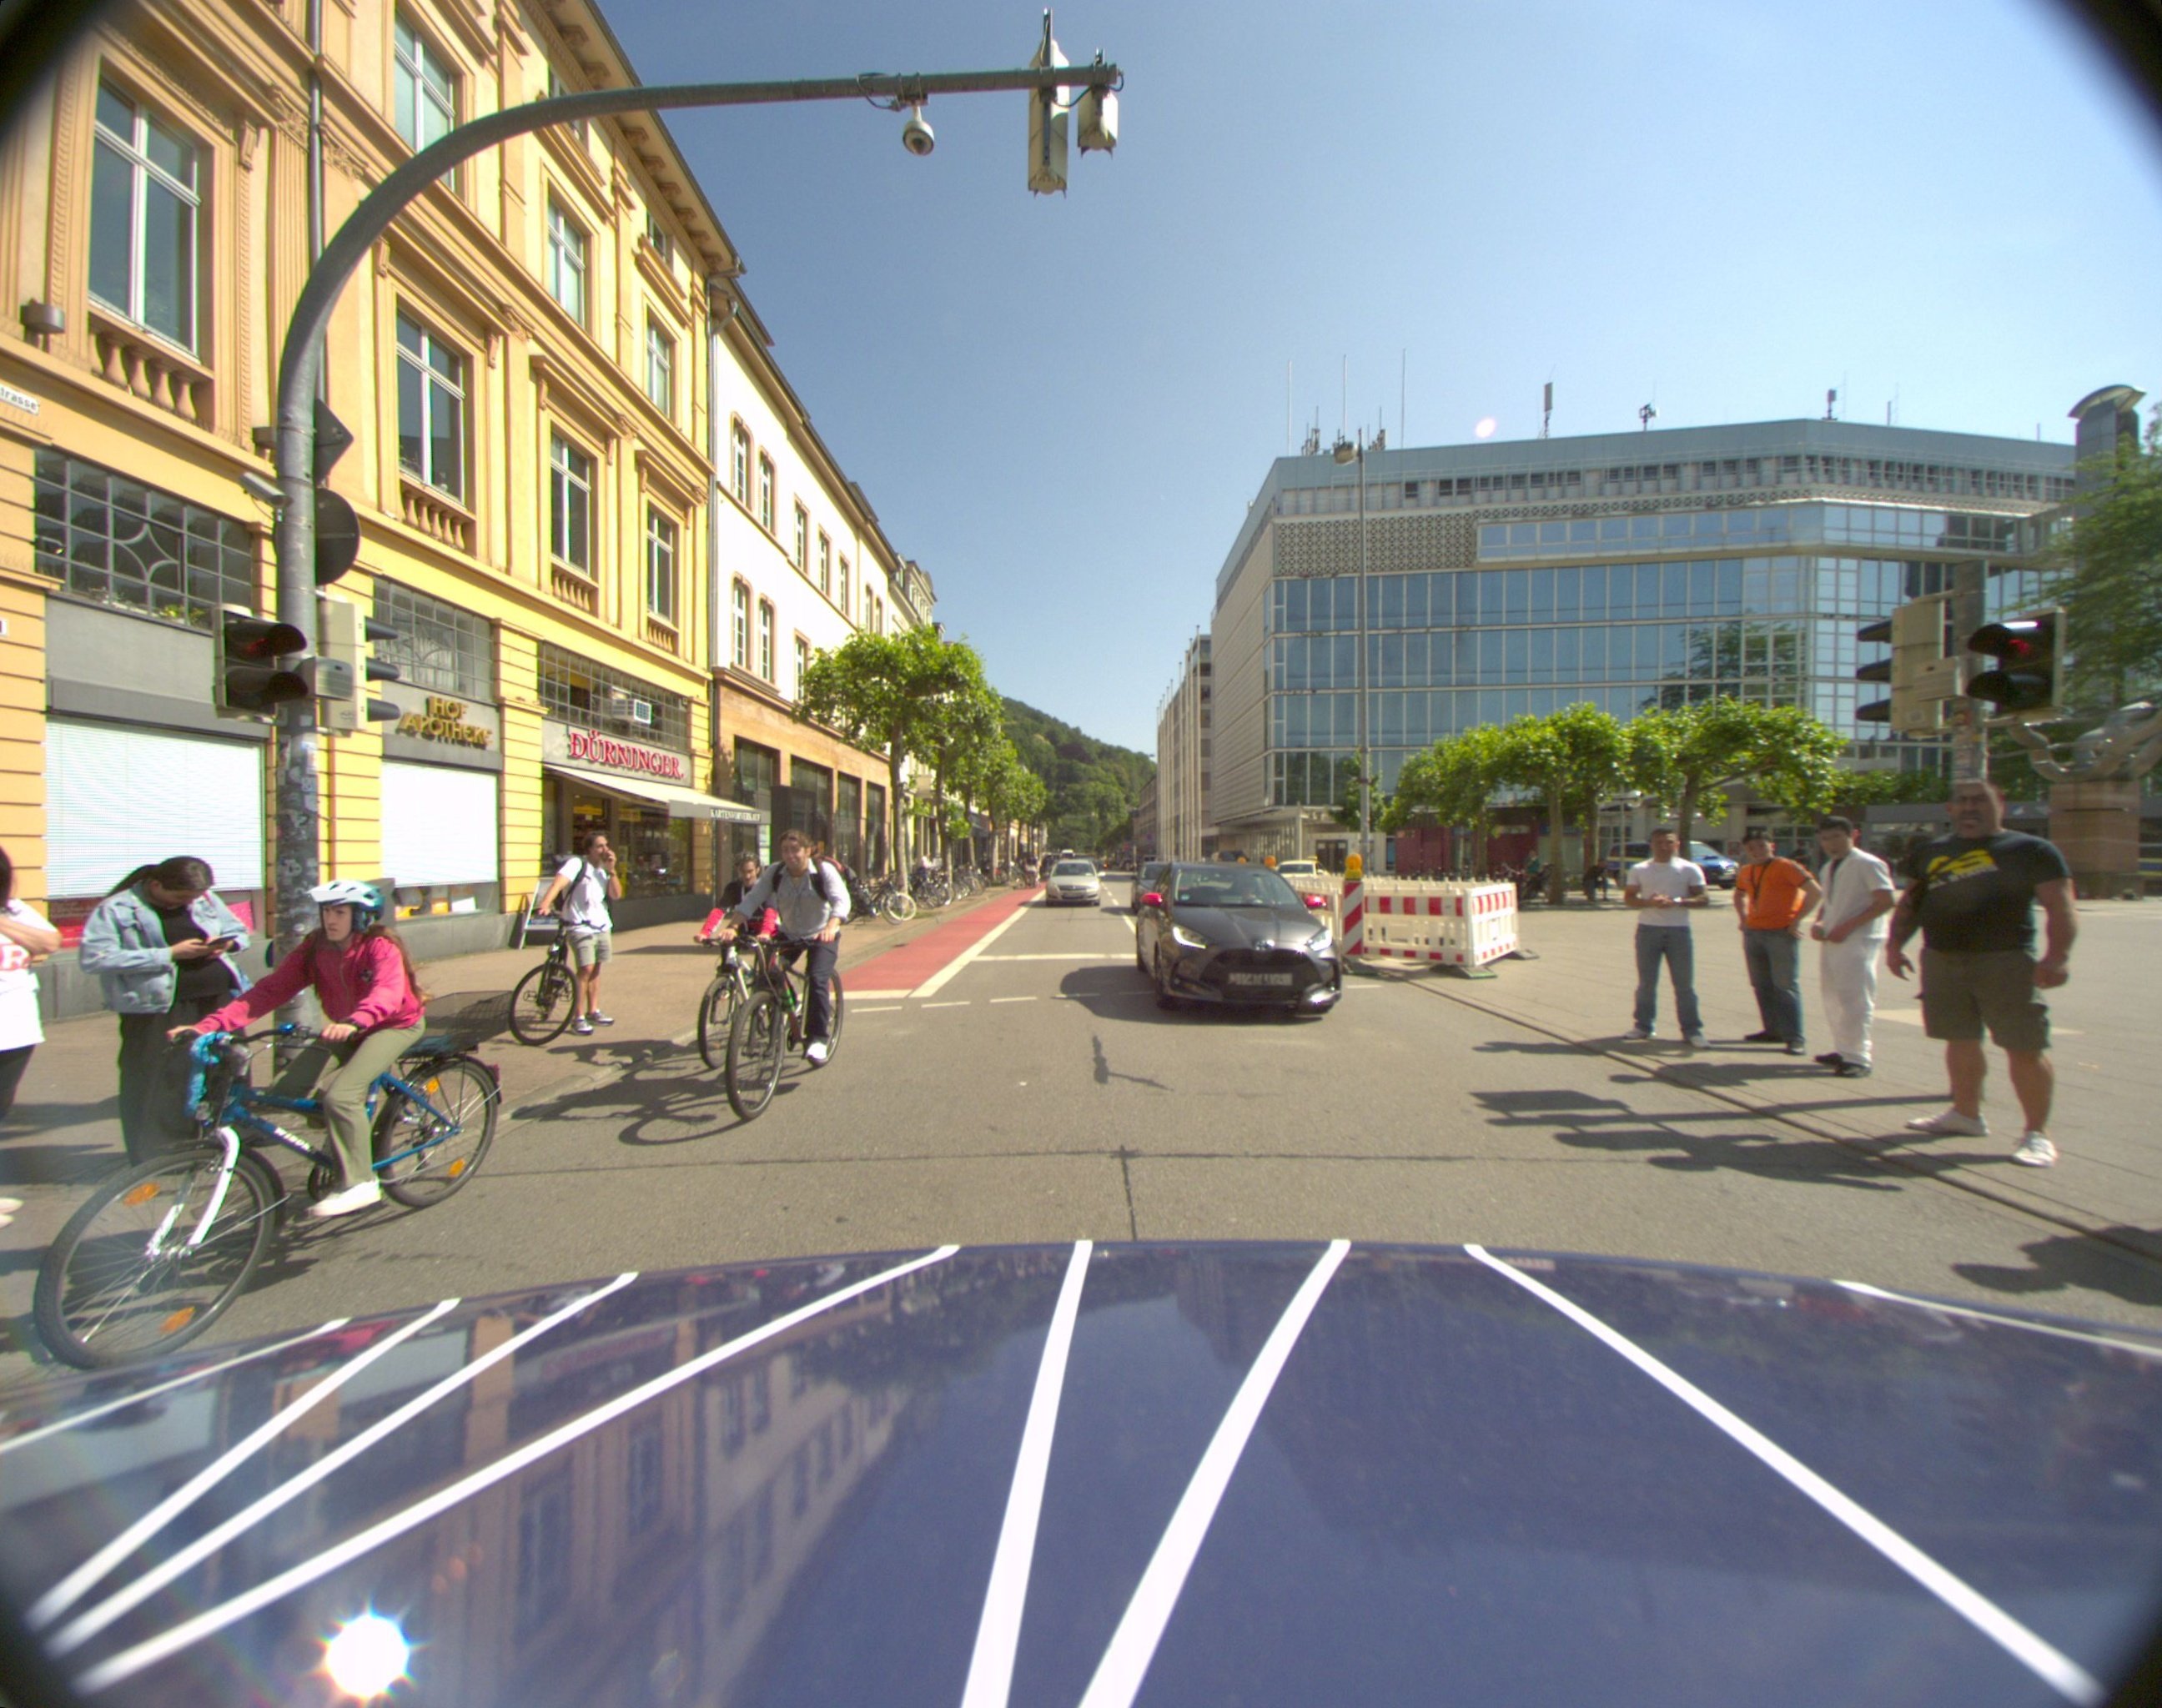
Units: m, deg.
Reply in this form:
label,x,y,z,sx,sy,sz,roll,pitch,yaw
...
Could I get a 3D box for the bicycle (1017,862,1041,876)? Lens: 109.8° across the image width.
label,x,y,z,sx,sy,sz,roll,pitch,yaw
bicycle,-4.233,1.215,61.699,1.846,1.120,0.632,-2,1,-10

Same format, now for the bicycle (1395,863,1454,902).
label,x,y,z,sx,sy,sz,roll,pitch,yaw
bicycle,11.785,0.963,26.090,1.786,1.301,0.562,-1,0,-2

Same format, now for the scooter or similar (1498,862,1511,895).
label,x,y,z,sx,sy,sz,roll,pitch,yaw
scooter or similar,15.937,0.909,28.608,0.233,1.207,1.305,-1,0,20

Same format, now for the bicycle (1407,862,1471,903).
label,x,y,z,sx,sy,sz,roll,pitch,yaw
bicycle,11.688,0.915,24.801,1.786,1.301,0.663,-1,0,-2

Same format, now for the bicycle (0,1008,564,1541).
label,x,y,z,sx,sy,sz,roll,pitch,yaw
bicycle,-3.037,1.283,2.969,0.601,0.920,2.087,0,1,0

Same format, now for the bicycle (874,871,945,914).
label,x,y,z,sx,sy,sz,roll,pitch,yaw
bicycle,-4.824,1.079,21.462,1.848,1.157,0.659,0,0,3

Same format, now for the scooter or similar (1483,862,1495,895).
label,x,y,z,sx,sy,sz,roll,pitch,yaw
scooter or similar,15.503,0.925,28.883,0.233,1.207,1.305,-1,0,20

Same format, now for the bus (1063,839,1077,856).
label,x,y,z,sx,sy,sz,roll,pitch,yaw
bus,-2.413,-1.322,167.317,2.924,3.515,12.498,1,0,-2

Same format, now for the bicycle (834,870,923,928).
label,x,y,z,sx,sy,sz,roll,pitch,yaw
bicycle,-4.712,1.027,17.677,1.940,1.250,0.704,0,0,-19

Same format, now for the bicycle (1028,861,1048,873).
label,x,y,z,sx,sy,sz,roll,pitch,yaw
bicycle,-4.075,1.257,72.686,1.844,1.120,0.666,0,1,2

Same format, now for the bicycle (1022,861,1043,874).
label,x,y,z,sx,sy,sz,roll,pitch,yaw
bicycle,-4.283,1.227,67.585,1.844,1.120,0.448,0,2,3

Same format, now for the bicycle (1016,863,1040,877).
label,x,y,z,sx,sy,sz,roll,pitch,yaw
bicycle,-4.329,1.277,62.200,1.846,1.087,0.564,-1,1,-10

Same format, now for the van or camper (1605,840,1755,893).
label,x,y,z,sx,sy,sz,roll,pitch,yaw
van or camper,23.389,0.435,29.977,1.877,1.907,5.024,0,1,-1

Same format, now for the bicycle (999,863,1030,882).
label,x,y,z,sx,sy,sz,roll,pitch,yaw
bicycle,-4.208,1.163,48.151,1.843,1.120,0.498,-1,1,11

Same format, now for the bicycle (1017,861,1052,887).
label,x,y,z,sx,sy,sz,roll,pitch,yaw
bicycle,-2.354,1.023,38.857,0.732,1.261,2.286,-1,-1,27

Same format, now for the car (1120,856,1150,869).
label,x,y,z,sx,sy,sz,roll,pitch,yaw
car,7.916,1.255,111.381,4.165,1.627,2.104,-4,0,9

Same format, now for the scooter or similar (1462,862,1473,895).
label,x,y,z,sx,sy,sz,roll,pitch,yaw
scooter or similar,14.856,0.926,29.225,0.233,1.207,1.305,-1,0,20

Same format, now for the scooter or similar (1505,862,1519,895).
label,x,y,z,sx,sy,sz,roll,pitch,yaw
scooter or similar,16.132,0.913,28.442,0.233,1.207,1.305,-1,0,20

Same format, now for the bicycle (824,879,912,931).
label,x,y,z,sx,sy,sz,roll,pitch,yaw
bicycle,-4.696,1.117,16.797,1.786,1.116,0.562,1,0,-2

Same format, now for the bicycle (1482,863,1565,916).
label,x,y,z,sx,sy,sz,roll,pitch,yaw
bicycle,11.896,0.938,20.458,1.786,1.340,0.741,-2,0,-2

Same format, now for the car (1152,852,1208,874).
label,x,y,z,sx,sy,sz,roll,pitch,yaw
car,8.681,0.814,66.516,4.433,1.898,2.014,-1,-1,37

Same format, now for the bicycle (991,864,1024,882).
label,x,y,z,sx,sy,sz,roll,pitch,yaw
bicycle,-4.477,1.174,46.499,1.844,1.090,0.794,-1,0,6

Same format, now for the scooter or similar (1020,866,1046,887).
label,x,y,z,sx,sy,sz,roll,pitch,yaw
scooter or similar,-2.521,1.199,40.175,0.783,1.054,1.128,-1,0,44

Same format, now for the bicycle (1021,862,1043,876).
label,x,y,z,sx,sy,sz,roll,pitch,yaw
bicycle,-4.109,1.261,63.912,1.844,1.087,0.564,-1,1,0

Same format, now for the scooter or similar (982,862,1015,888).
label,x,y,z,sx,sy,sz,roll,pitch,yaw
scooter or similar,-4.155,1.042,38.199,1.477,1.267,0.670,-1,1,11

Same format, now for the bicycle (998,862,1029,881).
label,x,y,z,sx,sy,sz,roll,pitch,yaw
bicycle,-4.366,1.124,49.219,1.843,1.190,0.674,-1,1,8

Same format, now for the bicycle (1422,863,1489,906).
label,x,y,z,sx,sy,sz,roll,pitch,yaw
bicycle,11.749,0.948,23.868,1.786,1.301,0.663,-1,0,-2

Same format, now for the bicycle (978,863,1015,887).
label,x,y,z,sx,sy,sz,roll,pitch,yaw
bicycle,-4.479,1.110,40.390,1.844,1.179,0.670,-2,1,5

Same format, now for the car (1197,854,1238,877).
label,x,y,z,sx,sy,sz,roll,pitch,yaw
car,10.219,0.856,57.152,1.999,1.601,4.398,-1,0,-4

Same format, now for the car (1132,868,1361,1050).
label,x,y,z,sx,sy,sz,roll,pitch,yaw
car,1.569,0.947,8.641,1.868,1.469,4.107,0,0,2

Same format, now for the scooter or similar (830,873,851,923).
label,x,y,z,sx,sy,sz,roll,pitch,yaw
scooter or similar,-5.993,1.068,18.909,0.422,1.171,1.230,-1,0,-20

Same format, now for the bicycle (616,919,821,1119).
label,x,y,z,sx,sy,sz,roll,pitch,yaw
bicycle,-2.748,1.179,6.064,0.700,1.120,2.081,-2,0,-3

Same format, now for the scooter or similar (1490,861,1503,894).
label,x,y,z,sx,sy,sz,roll,pitch,yaw
scooter or similar,15.710,0.887,28.736,0.233,1.207,1.305,-1,0,20

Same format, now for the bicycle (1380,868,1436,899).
label,x,y,z,sx,sy,sz,roll,pitch,yaw
bicycle,11.755,1.054,27.350,1.786,1.099,0.562,-1,0,-2

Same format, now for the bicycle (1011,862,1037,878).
label,x,y,z,sx,sy,sz,roll,pitch,yaw
bicycle,-4.307,1.209,57.245,1.846,1.120,0.497,-2,-1,-7

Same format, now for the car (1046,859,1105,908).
label,x,y,z,sx,sy,sz,roll,pitch,yaw
car,-0.172,0.905,25.303,1.791,1.483,4.368,0,0,0

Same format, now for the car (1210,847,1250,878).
label,x,y,z,sx,sy,sz,roll,pitch,yaw
car,10.050,0.567,51.529,1.836,2.002,4.685,0,0,1

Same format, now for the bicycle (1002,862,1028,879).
label,x,y,z,sx,sy,sz,roll,pitch,yaw
bicycle,-4.801,1.193,55.584,1.783,1.190,0.576,-1,1,-27

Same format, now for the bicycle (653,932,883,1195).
label,x,y,z,sx,sy,sz,roll,pitch,yaw
bicycle,-1.883,1.184,4.962,0.700,1.120,2.081,-2,0,-3

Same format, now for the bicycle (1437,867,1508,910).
label,x,y,z,sx,sy,sz,roll,pitch,yaw
bicycle,11.577,1.006,22.482,1.786,1.208,0.663,-1,0,-2

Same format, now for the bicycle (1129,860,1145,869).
label,x,y,z,sx,sy,sz,roll,pitch,yaw
bicycle,7.225,1.395,98.094,0.606,1.166,2.058,-2,1,-45

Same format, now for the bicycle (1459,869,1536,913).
label,x,y,z,sx,sy,sz,roll,pitch,yaw
bicycle,11.601,1.024,21.186,1.786,1.178,0.663,-1,0,-2

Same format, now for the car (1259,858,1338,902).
label,x,y,z,sx,sy,sz,roll,pitch,yaw
car,8.395,0.942,28.985,1.892,1.532,4.871,-1,-1,28

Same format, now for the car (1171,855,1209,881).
label,x,y,z,sx,sy,sz,roll,pitch,yaw
car,7.007,0.882,49.228,1.765,1.590,4.709,0,0,0

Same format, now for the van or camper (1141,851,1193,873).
label,x,y,z,sx,sy,sz,roll,pitch,yaw
van or camper,8.410,0.827,74.673,4.648,2.001,2.004,-2,-1,40

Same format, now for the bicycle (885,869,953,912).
label,x,y,z,sx,sy,sz,roll,pitch,yaw
bicycle,-4.700,1.055,22.091,1.848,1.194,0.608,0,0,3

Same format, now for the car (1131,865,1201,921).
label,x,y,z,sx,sy,sz,roll,pitch,yaw
car,2.351,1.059,21.924,1.733,1.389,4.107,0,0,3

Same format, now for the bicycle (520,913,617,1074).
label,x,y,z,sx,sy,sz,roll,pitch,yaw
bicycle,-4.518,1.136,6.714,0.603,1.076,1.834,2,0,-34

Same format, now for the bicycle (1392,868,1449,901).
label,x,y,z,sx,sy,sz,roll,pitch,yaw
bicycle,11.903,1.053,26.660,1.786,1.125,0.562,-1,0,-2
